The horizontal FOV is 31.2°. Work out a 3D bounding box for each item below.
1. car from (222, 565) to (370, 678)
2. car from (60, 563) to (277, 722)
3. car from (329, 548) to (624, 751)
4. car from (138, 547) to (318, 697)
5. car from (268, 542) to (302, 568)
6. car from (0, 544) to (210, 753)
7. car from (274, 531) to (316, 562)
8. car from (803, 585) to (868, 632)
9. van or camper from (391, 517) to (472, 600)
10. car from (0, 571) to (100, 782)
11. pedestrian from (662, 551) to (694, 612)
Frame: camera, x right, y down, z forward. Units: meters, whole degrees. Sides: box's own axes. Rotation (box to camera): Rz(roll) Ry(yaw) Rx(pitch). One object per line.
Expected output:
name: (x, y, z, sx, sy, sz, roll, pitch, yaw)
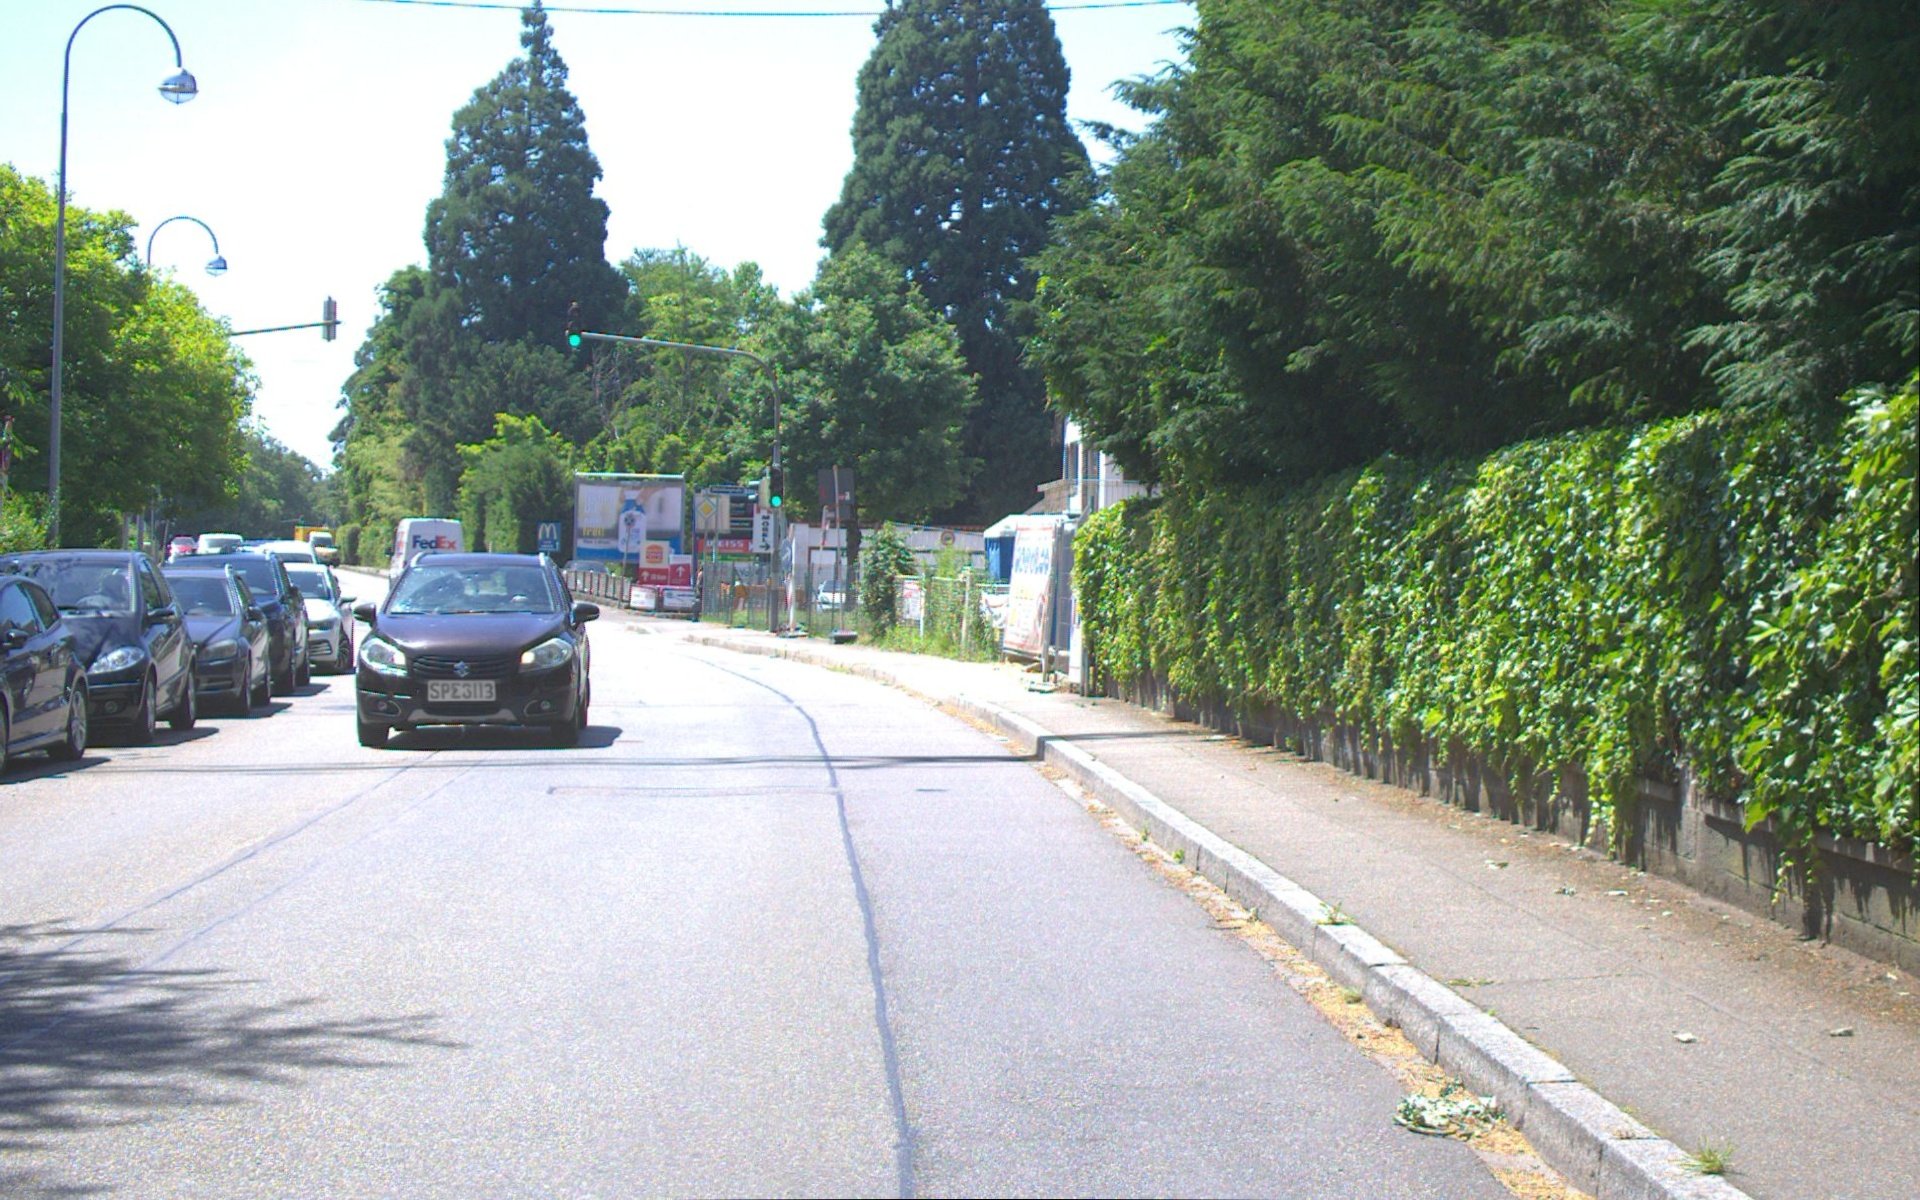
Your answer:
car: (-8.905, 0.258, 46.336, 1.680, 1.436, 4.248, -1, 1, -7)
car: (-7.839, 0.372, 34.357, 1.680, 1.471, 4.331, -1, 1, -7)
car: (-3.962, 0.366, 28.811, 1.899, 1.569, 4.141, 0, 1, 0)
car: (-8.392, 0.217, 39.708, 1.680, 1.631, 4.331, -1, 1, -7)
car: (-44.551, -3.003, 226.828, 1.993, 1.656, 4.001, 1, 0, -14)
car: (-7.427, 0.360, 28.945, 1.681, 1.633, 3.790, -1, 1, -5)
car: (-37.242, -2.992, 192.473, 1.993, 1.656, 4.001, 1, 0, -14)
car: (-3.584, 0.227, 99.339, 1.711, 1.266, 3.385, 2, 0, 0)
van or camper: (-16.555, -1.292, 107.490, 2.262, 2.519, 4.761, 0, 1, -11)
car: (-7.254, 0.504, 23.952, 1.681, 1.396, 3.790, 0, 1, -2)
pedestrian: (-7.555, -0.488, 92.101, 0.695, 1.594, 0.573, 3, 0, -13)
